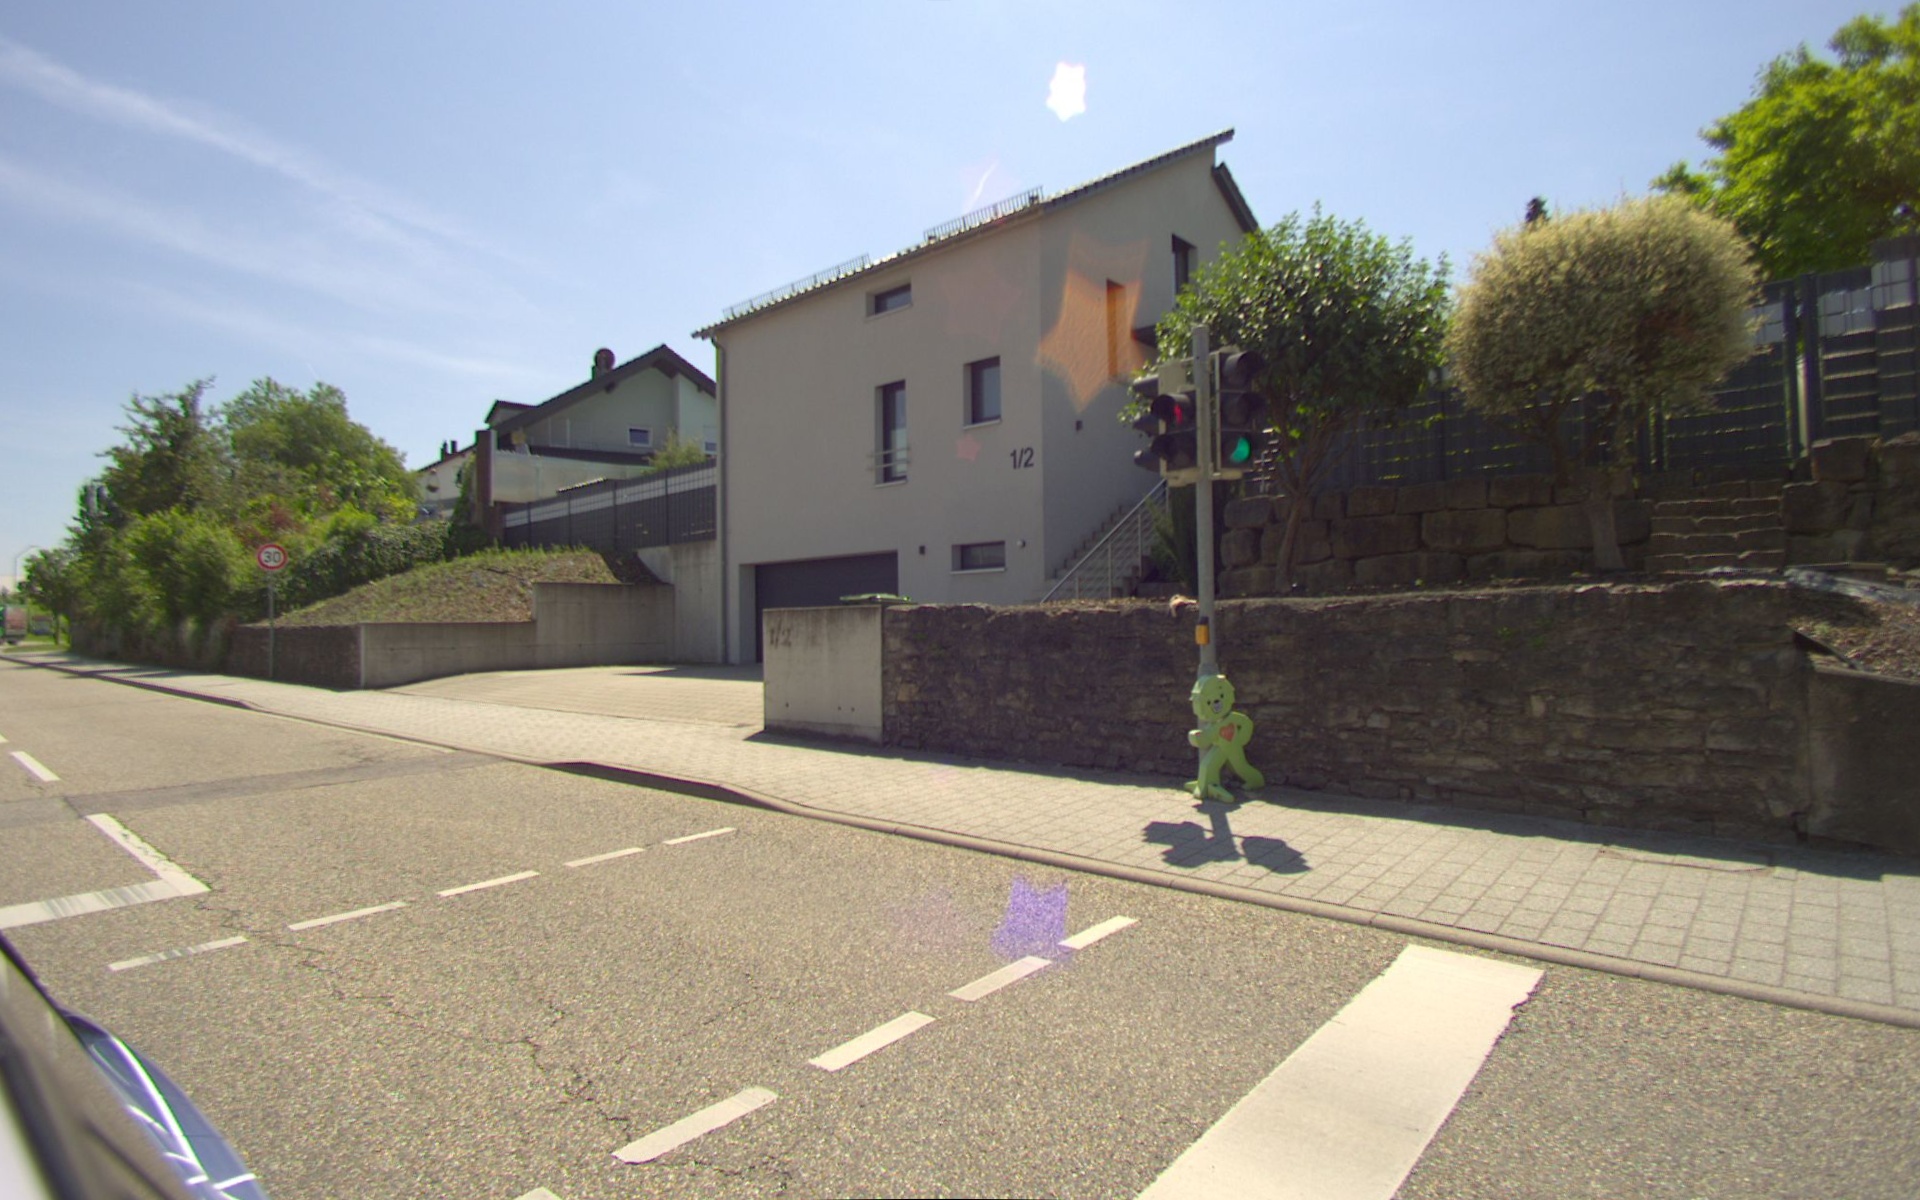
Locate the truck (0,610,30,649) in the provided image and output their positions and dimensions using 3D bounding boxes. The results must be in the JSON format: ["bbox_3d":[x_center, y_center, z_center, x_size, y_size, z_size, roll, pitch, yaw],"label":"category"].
[{"bbox_3d":[-82.556,2.530,86.183,2.805,3.258,8.188,4,-4,-29],"label":"truck"}]
